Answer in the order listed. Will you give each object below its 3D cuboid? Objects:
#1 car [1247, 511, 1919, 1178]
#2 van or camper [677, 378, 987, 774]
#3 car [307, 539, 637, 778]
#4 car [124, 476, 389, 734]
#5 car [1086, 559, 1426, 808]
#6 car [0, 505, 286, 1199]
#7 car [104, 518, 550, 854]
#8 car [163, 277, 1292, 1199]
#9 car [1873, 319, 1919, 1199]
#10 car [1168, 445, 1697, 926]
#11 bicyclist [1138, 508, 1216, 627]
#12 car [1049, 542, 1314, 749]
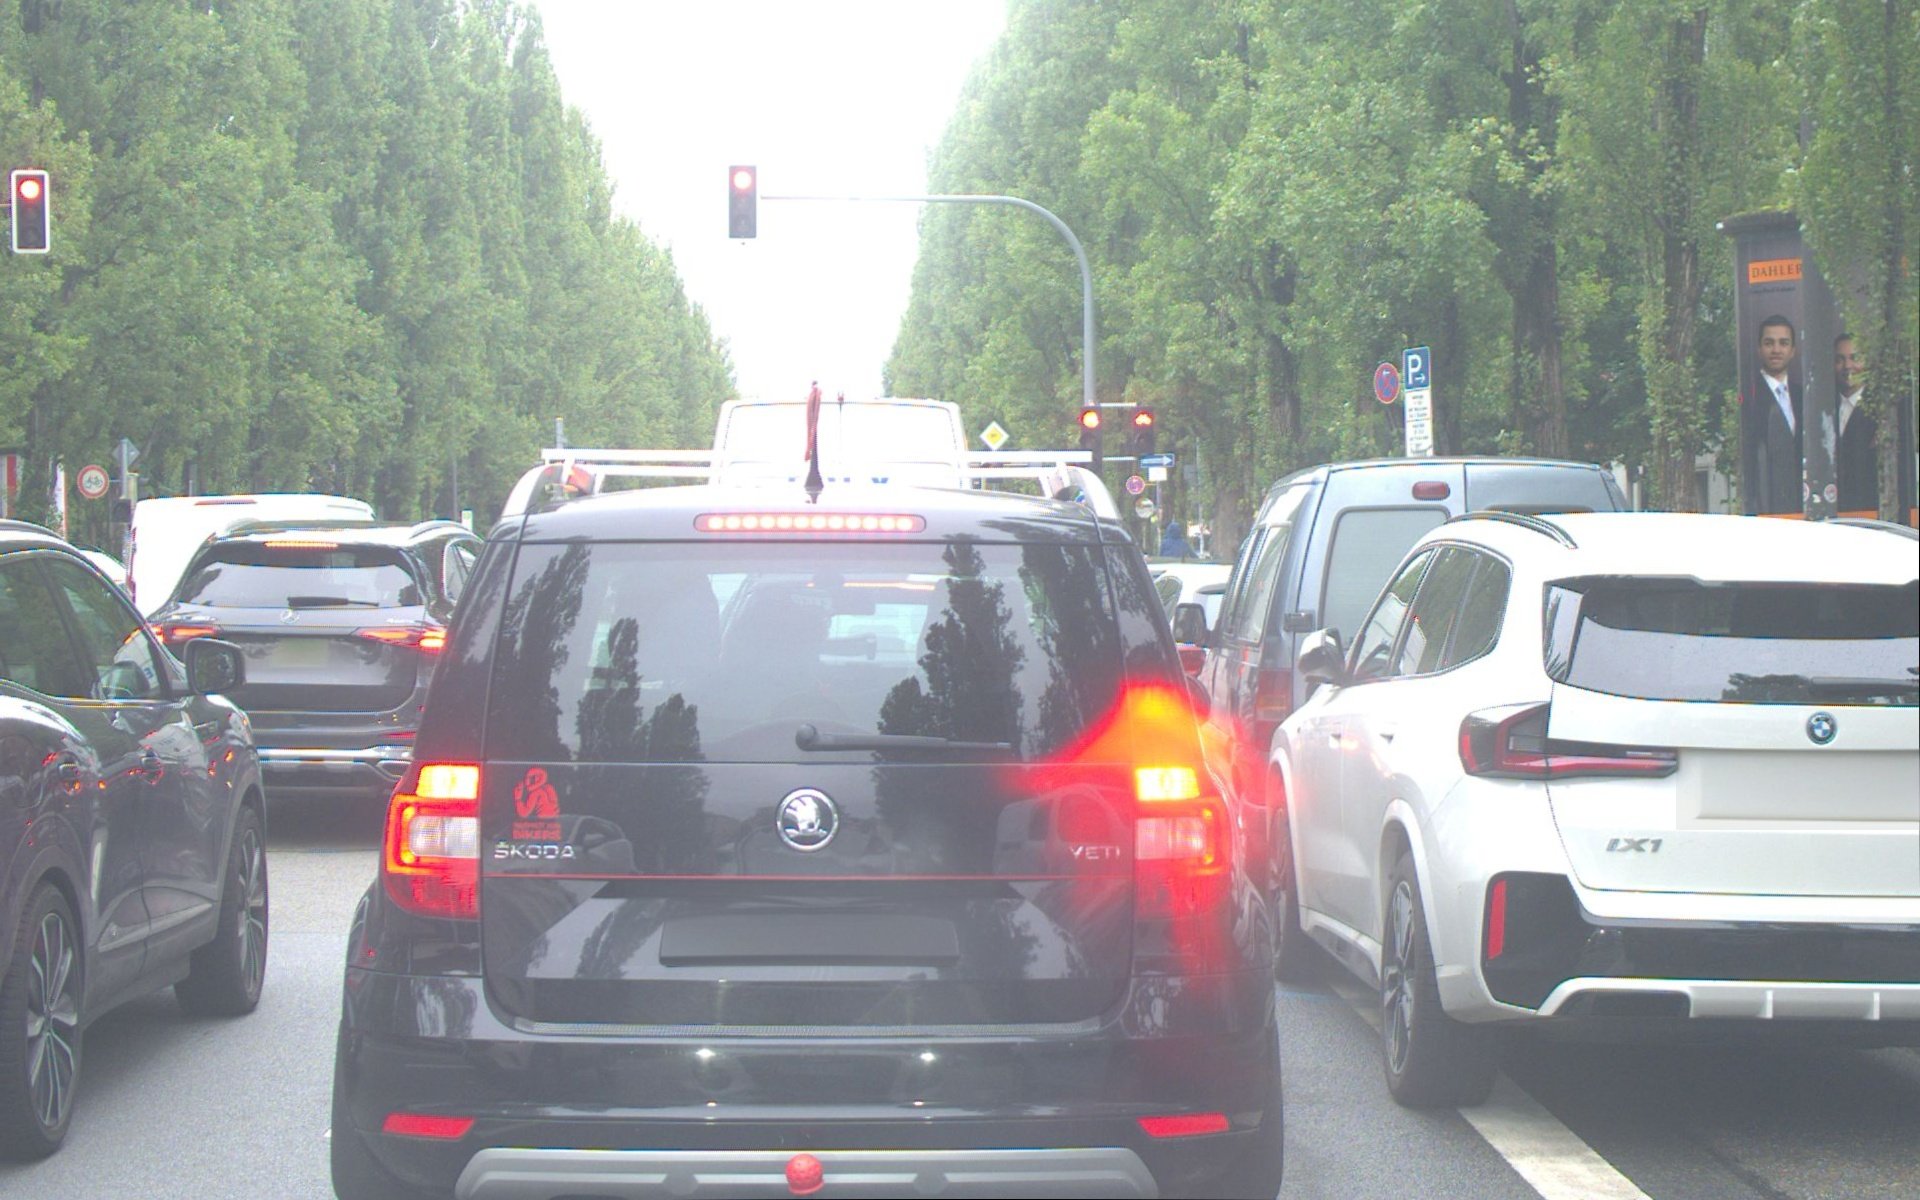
[{"bbox_3d":[1.972,0.537,10.377,1.741,1.587,4.212,-1,1,-1],"label":"car"},{"bbox_3d":[-0.940,-0.198,24.327,1.975,2.540,4.025,-1,1,-3],"label":"van or camper"},{"bbox_3d":[-3.491,0.360,25.292,1.993,1.555,4.001,-1,2,-2],"label":"car"},{"bbox_3d":[-6.201,0.017,30.692,1.781,2.104,4.025,-2,1,-4],"label":"car"},{"bbox_3d":[1.782,0.462,21.725,1.735,1.382,3.563,-1,1,-2],"label":"car"},{"bbox_3d":[-3.127,0.538,9.437,1.835,1.580,4.186,1,1,-2],"label":"car"},{"bbox_3d":[-3.318,0.376,18.746,1.781,1.614,4.025,1,1,-2],"label":"car"},{"bbox_3d":[-0.436,0.330,7.759,1.855,1.764,4.000,1,1,-1],"label":"car"},{"bbox_3d":[2.437,0.549,3.306,1.851,1.875,4.169,-1,1,-2],"label":"car"},{"bbox_3d":[1.998,0.294,15.649,1.735,1.889,4.025,-1,1,-2],"label":"car"},{"bbox_3d":[3.182,-0.487,50.433,0.905,1.716,0.825,-1,1,-14],"label":"bicyclist"},{"bbox_3d":[1.664,0.305,26.920,1.735,1.470,3.563,-1,1,-2],"label":"car"}]
